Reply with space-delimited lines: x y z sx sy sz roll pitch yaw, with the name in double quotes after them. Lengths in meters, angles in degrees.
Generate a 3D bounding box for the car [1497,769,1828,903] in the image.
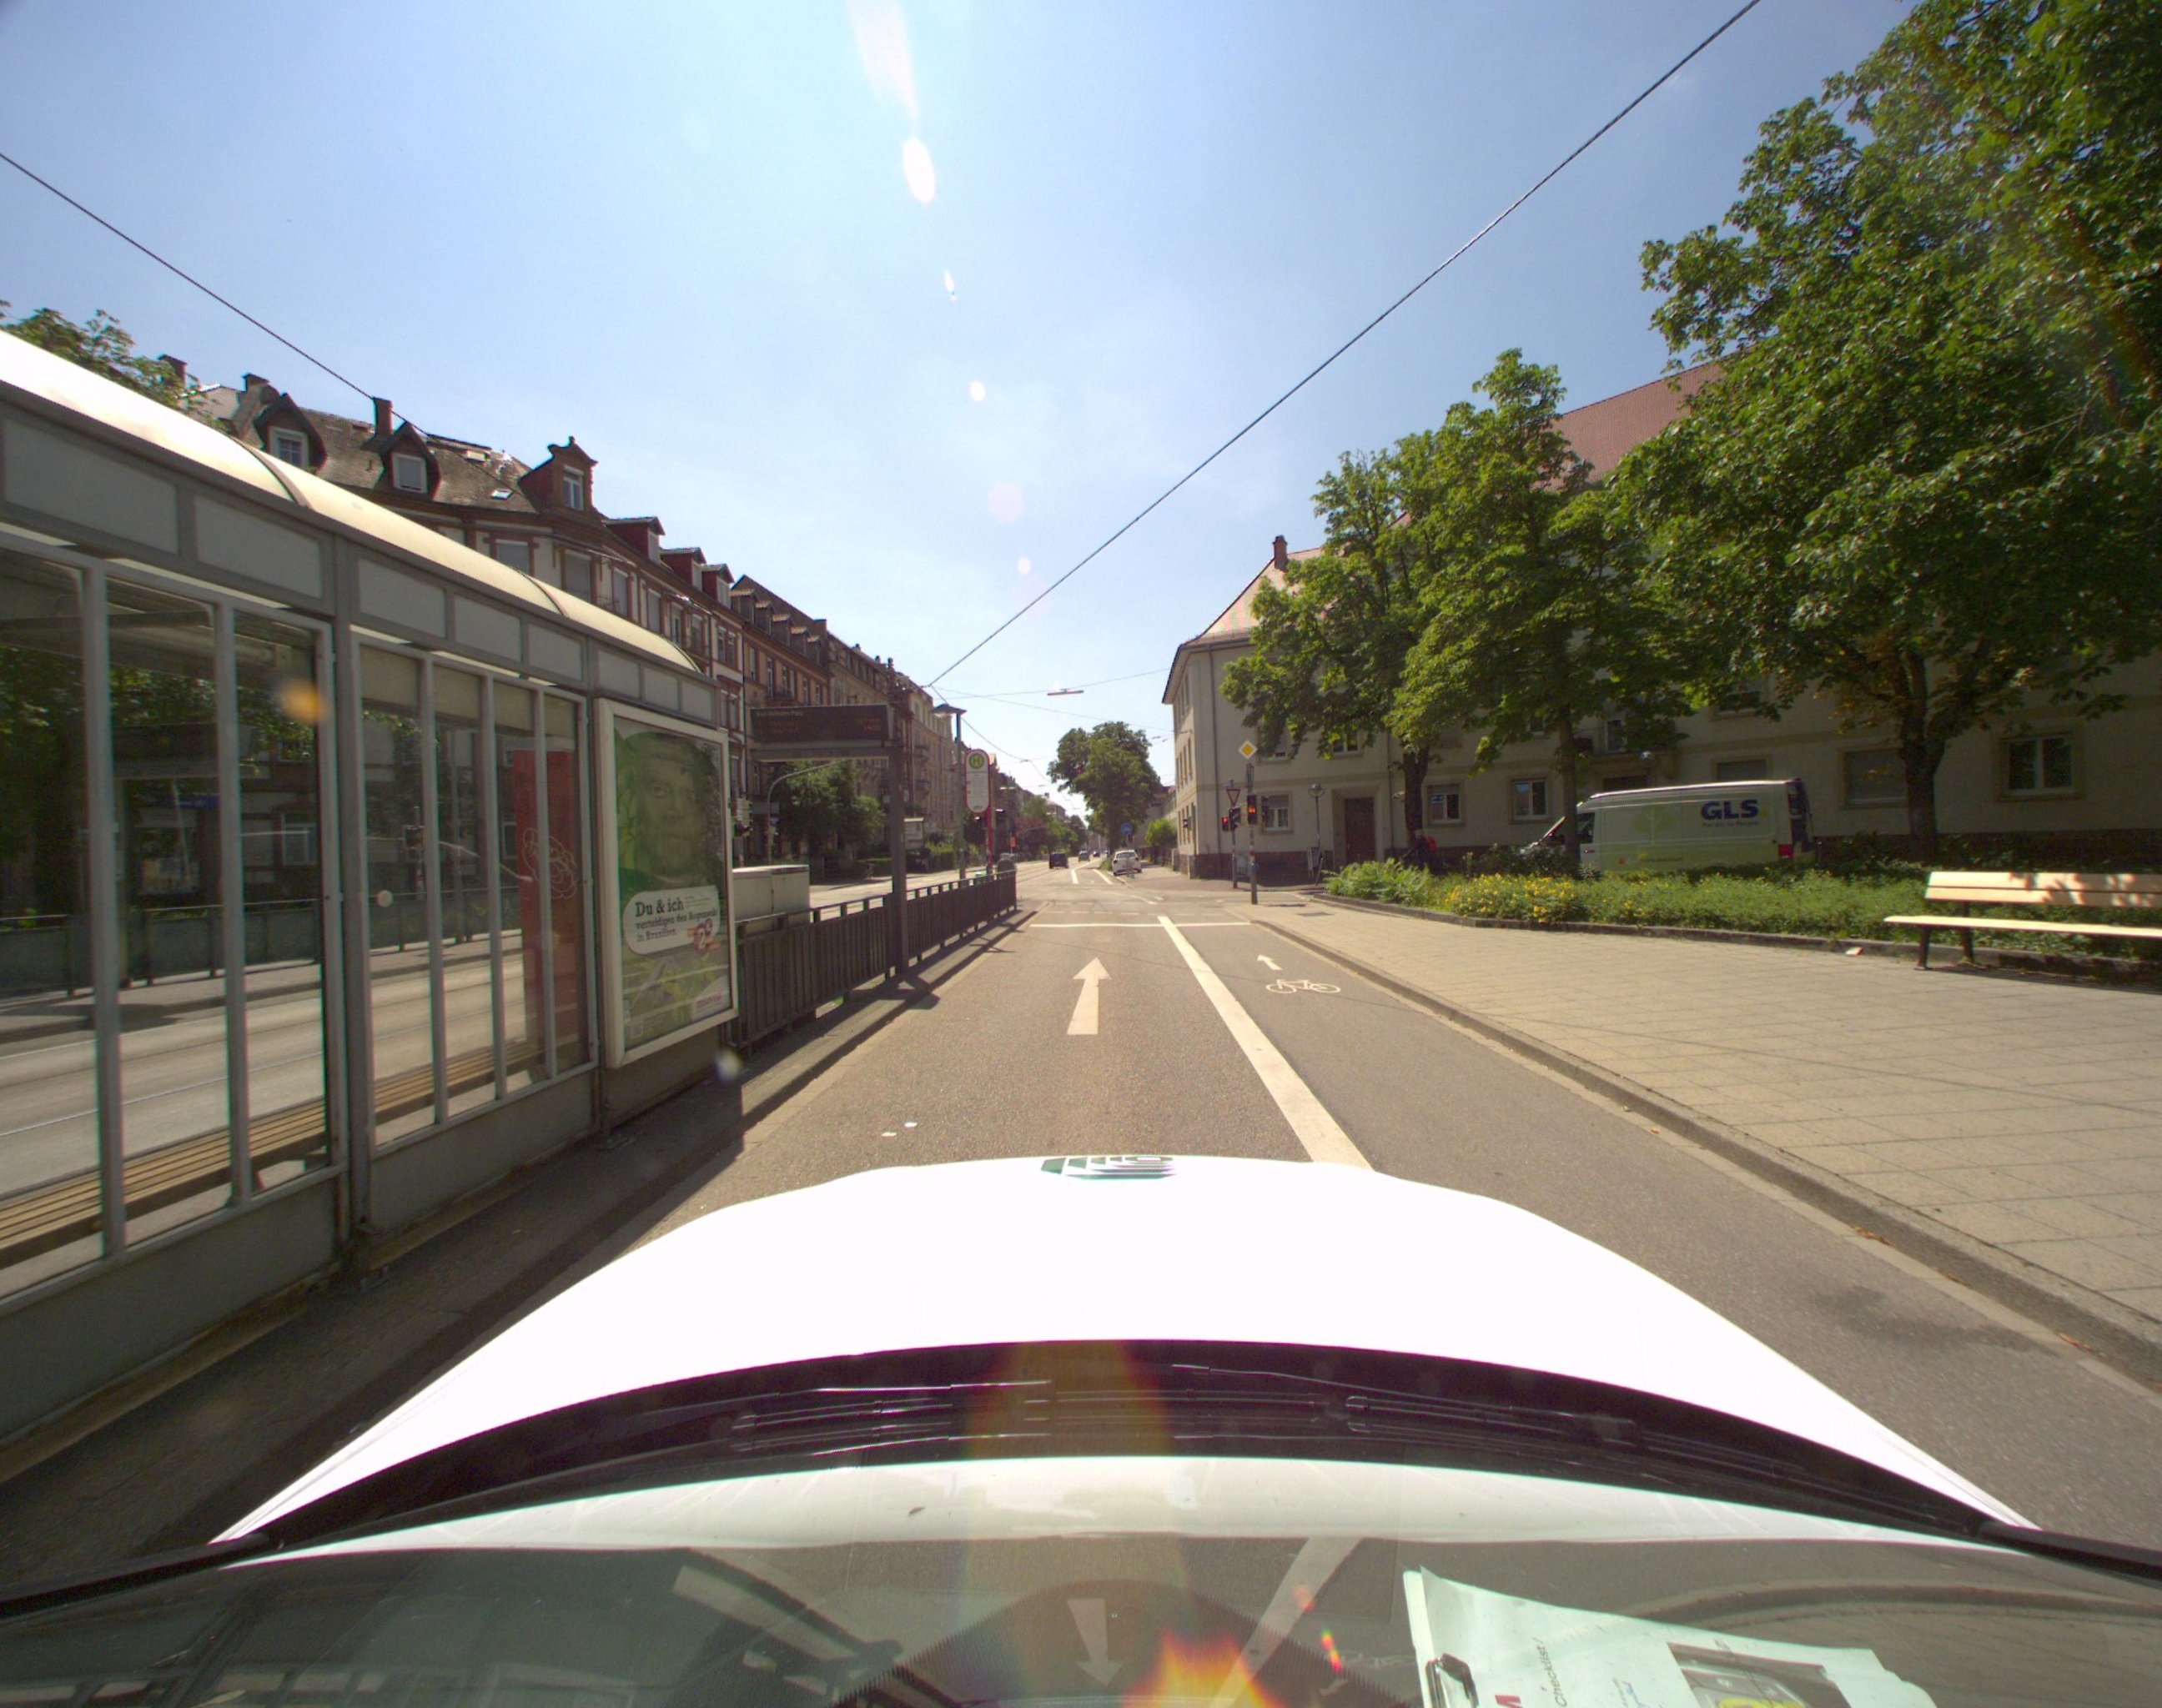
12.976 -0.306 18.646 2.009 2.590 5.784 -1 -1 -38 "car"

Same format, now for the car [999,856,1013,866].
-11.912 1.124 129.051 1.679 1.472 3.937 -5 0 0 "car"

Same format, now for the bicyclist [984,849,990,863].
-11.691 0.261 101.261 0.540 1.763 0.498 -1 -1 1 "bicyclist"

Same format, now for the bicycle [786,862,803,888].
-15.435 1.117 43.847 0.617 1.395 2.289 -1 -1 -24 "bicycle"

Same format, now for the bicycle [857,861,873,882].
-14.243 1.143 53.676 0.594 1.356 2.420 -1 -1 -24 "bicycle"

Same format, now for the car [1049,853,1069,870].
-1.970 0.646 74.074 1.519 1.444 3.367 -3 0 2 "car"

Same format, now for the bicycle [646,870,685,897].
-19.110 1.335 37.465 0.360 1.169 1.528 0 1 43 "bicycle"

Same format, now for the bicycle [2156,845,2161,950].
16.095 0.591 10.808 0.596 1.485 2.145 -1 -1 -34 "bicycle"

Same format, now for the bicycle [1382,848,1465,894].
9.697 0.486 23.071 2.060 1.236 0.584 -2 -1 35 "bicycle"

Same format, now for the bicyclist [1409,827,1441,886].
9.732 0.083 23.052 0.687 1.646 0.584 -2 -1 35 "bicyclist"

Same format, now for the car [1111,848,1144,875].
2.828 0.464 50.179 1.741 1.472 3.939 -5 0 1 "car"

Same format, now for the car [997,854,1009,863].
-13.092 0.746 137.247 1.623 1.472 3.563 -5 0 0 "car"

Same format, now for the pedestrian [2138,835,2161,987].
7.983 0.404 5.691 0.506 1.092 0.479 -4 1 8 "pedestrian"

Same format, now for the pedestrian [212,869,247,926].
-27.978 1.412 26.760 0.565 1.825 0.631 -1 -1 -20 "pedestrian"

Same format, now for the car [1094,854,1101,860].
4.095 0.742 205.362 1.623 1.472 3.563 -5 0 0 "car"

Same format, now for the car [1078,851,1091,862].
0.552 0.411 121.385 1.741 1.472 3.939 -5 0 1 "car"

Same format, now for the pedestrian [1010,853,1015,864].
-10.143 0.667 120.827 0.675 1.727 0.677 -1 -1 1 "pedestrian"

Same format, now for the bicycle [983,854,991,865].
-11.687 0.672 101.339 0.575 1.388 2.502 -1 0 1 "bicycle"
